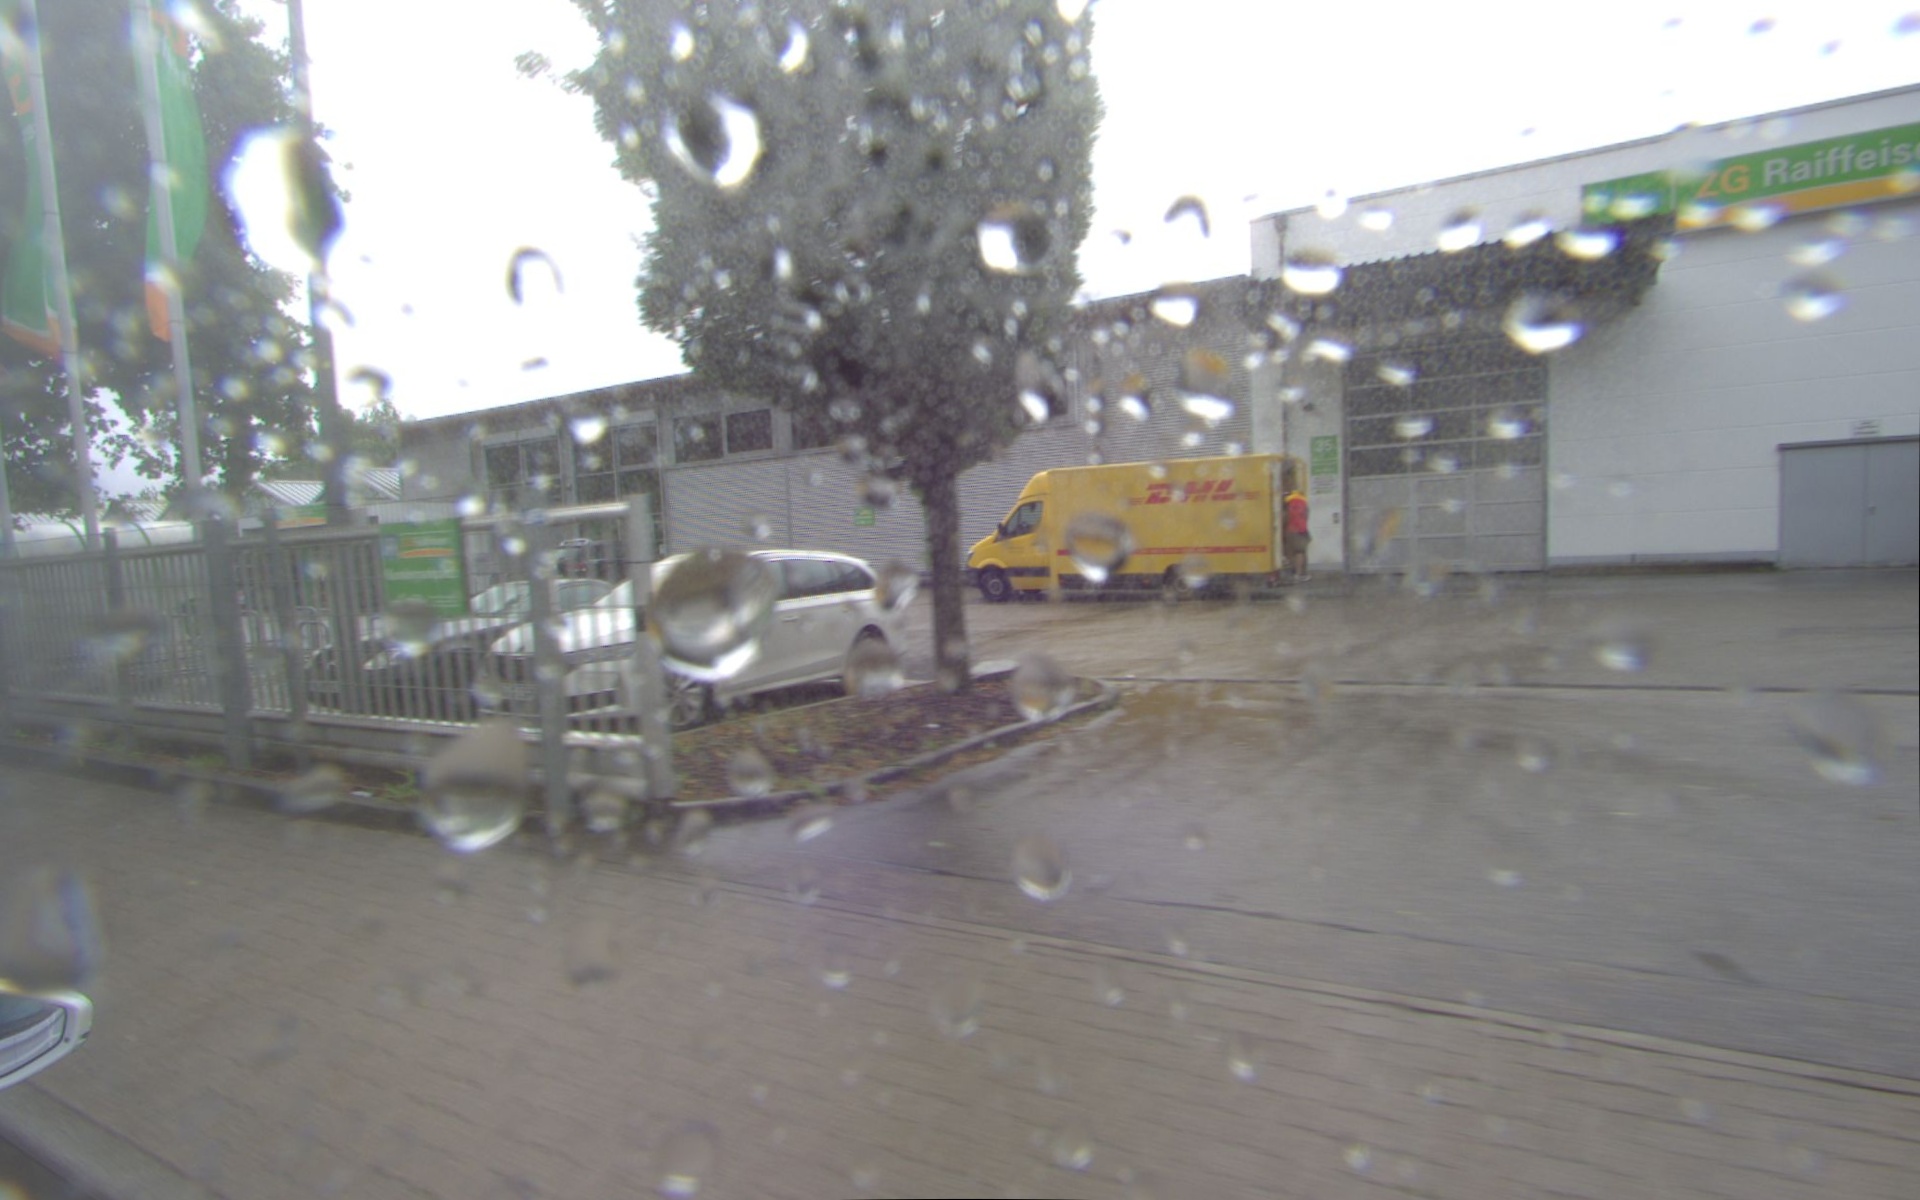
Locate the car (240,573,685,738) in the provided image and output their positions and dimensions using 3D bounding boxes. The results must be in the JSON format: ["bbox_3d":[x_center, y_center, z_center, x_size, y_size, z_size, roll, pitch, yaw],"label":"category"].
[{"bbox_3d":[-4.918,0.436,10.510,1.594,1.274,3.931,-1,3,29],"label":"car"}]

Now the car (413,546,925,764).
[{"bbox_3d":[-2.353,0.290,9.531,1.862,1.483,4.694,-1,3,29],"label":"car"}]

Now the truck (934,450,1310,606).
[{"bbox_3d":[3.175,-1.354,20.694,7.313,2.697,2.292,-1,5,34],"label":"truck"}]

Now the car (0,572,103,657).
[{"bbox_3d":[-20.148,0.363,19.964,1.796,1.623,4.199,0,4,29],"label":"car"}]

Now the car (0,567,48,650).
[{"bbox_3d":[-22.624,0.301,21.380,1.793,1.819,4.206,-1,4,23],"label":"car"}]

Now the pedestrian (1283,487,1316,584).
[{"bbox_3d":[6.189,-1.173,18.244,0.427,1.743,0.453,0,6,33],"label":"pedestrian"}]

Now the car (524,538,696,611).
[{"bbox_3d":[-10.095,-0.793,29.218,2.033,1.859,4.349,0,5,32],"label":"car"}]
